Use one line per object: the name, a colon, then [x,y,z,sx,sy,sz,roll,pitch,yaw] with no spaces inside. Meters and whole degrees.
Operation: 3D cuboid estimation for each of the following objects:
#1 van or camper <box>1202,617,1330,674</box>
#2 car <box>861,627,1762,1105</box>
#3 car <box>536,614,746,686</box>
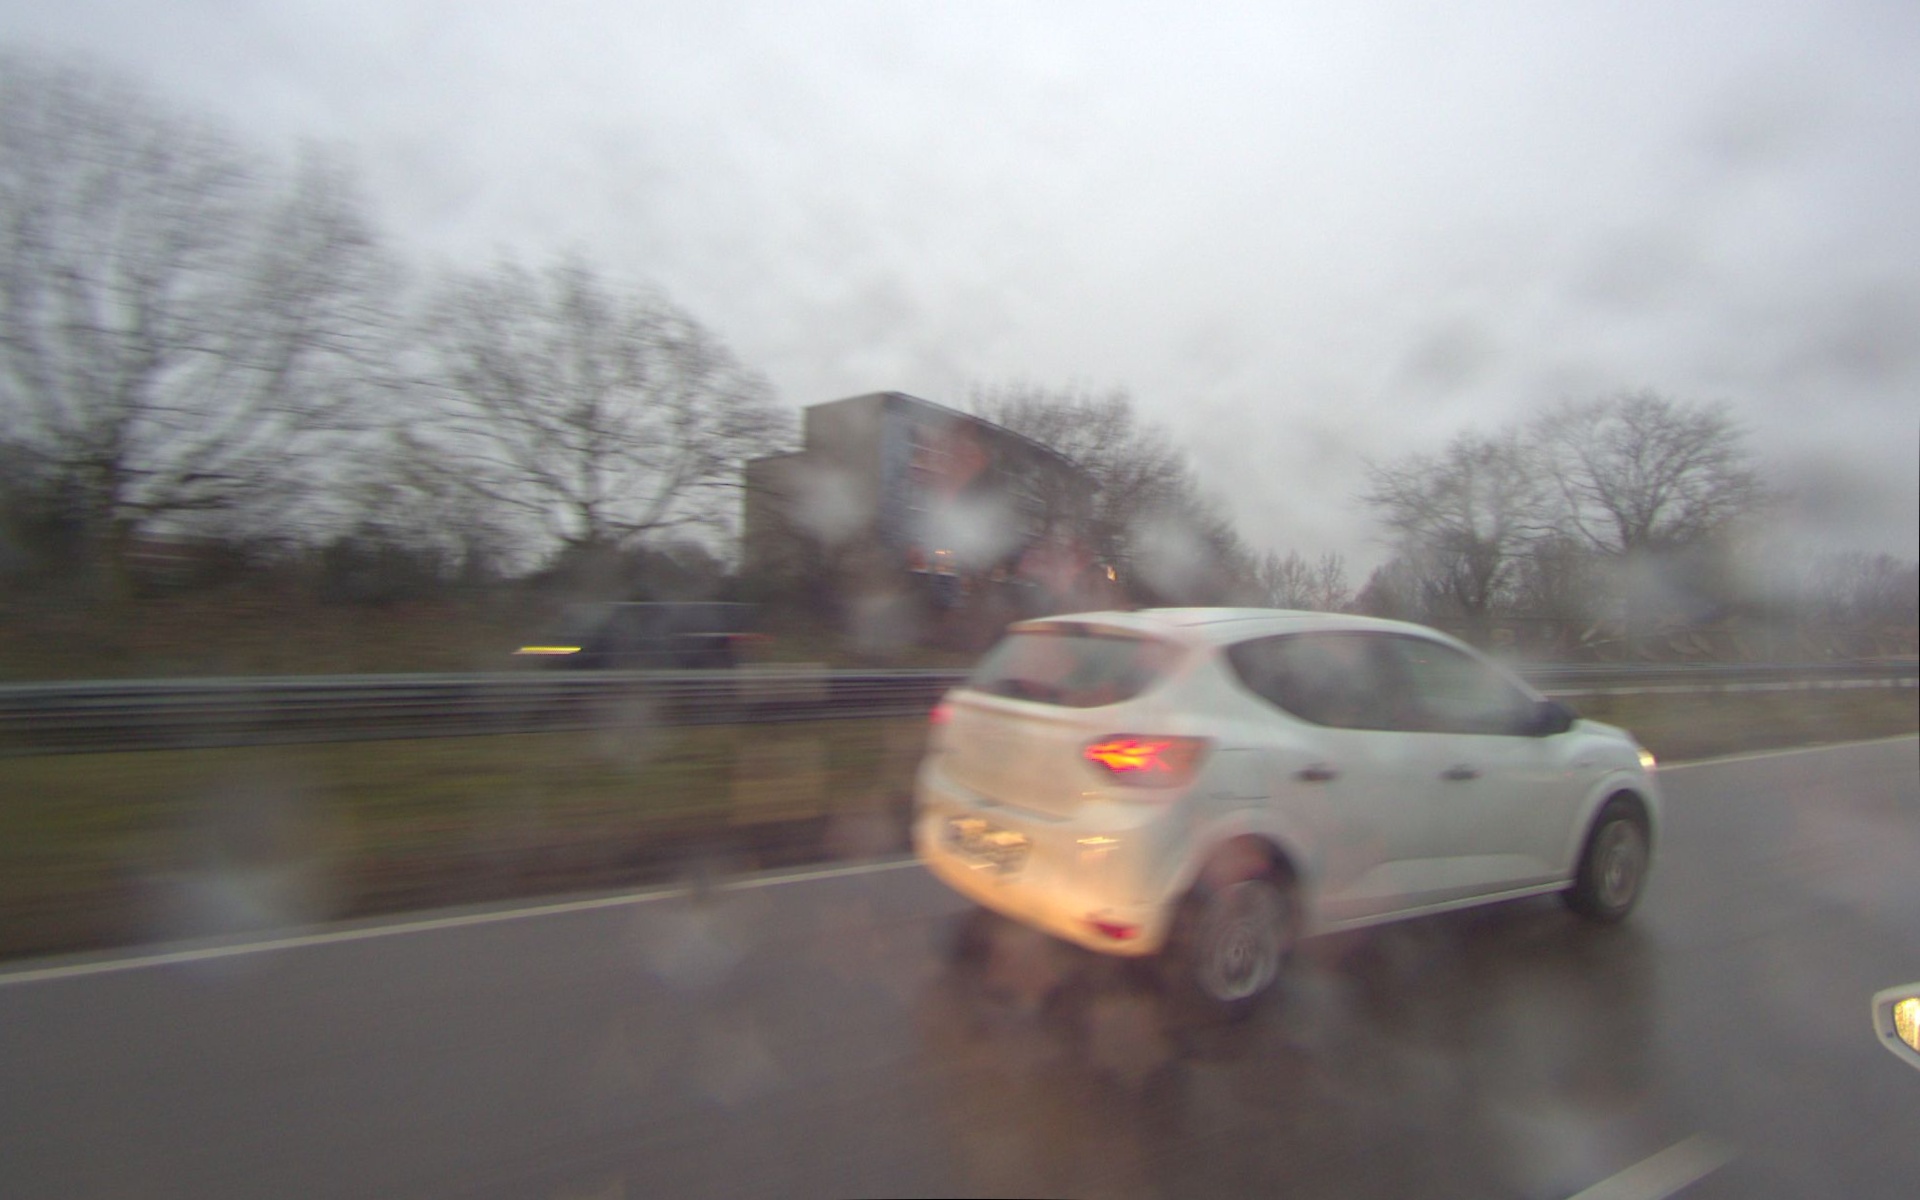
van or camper: [10.312,1.543,33.780,4.155,1.807,1.643,2,-2,-27]
car: [1.780,0.878,4.834,4.172,1.459,1.718,1,-1,-27]
car: [-7.837,1.234,24.852,4.633,1.630,1.773,2,-2,-34]
